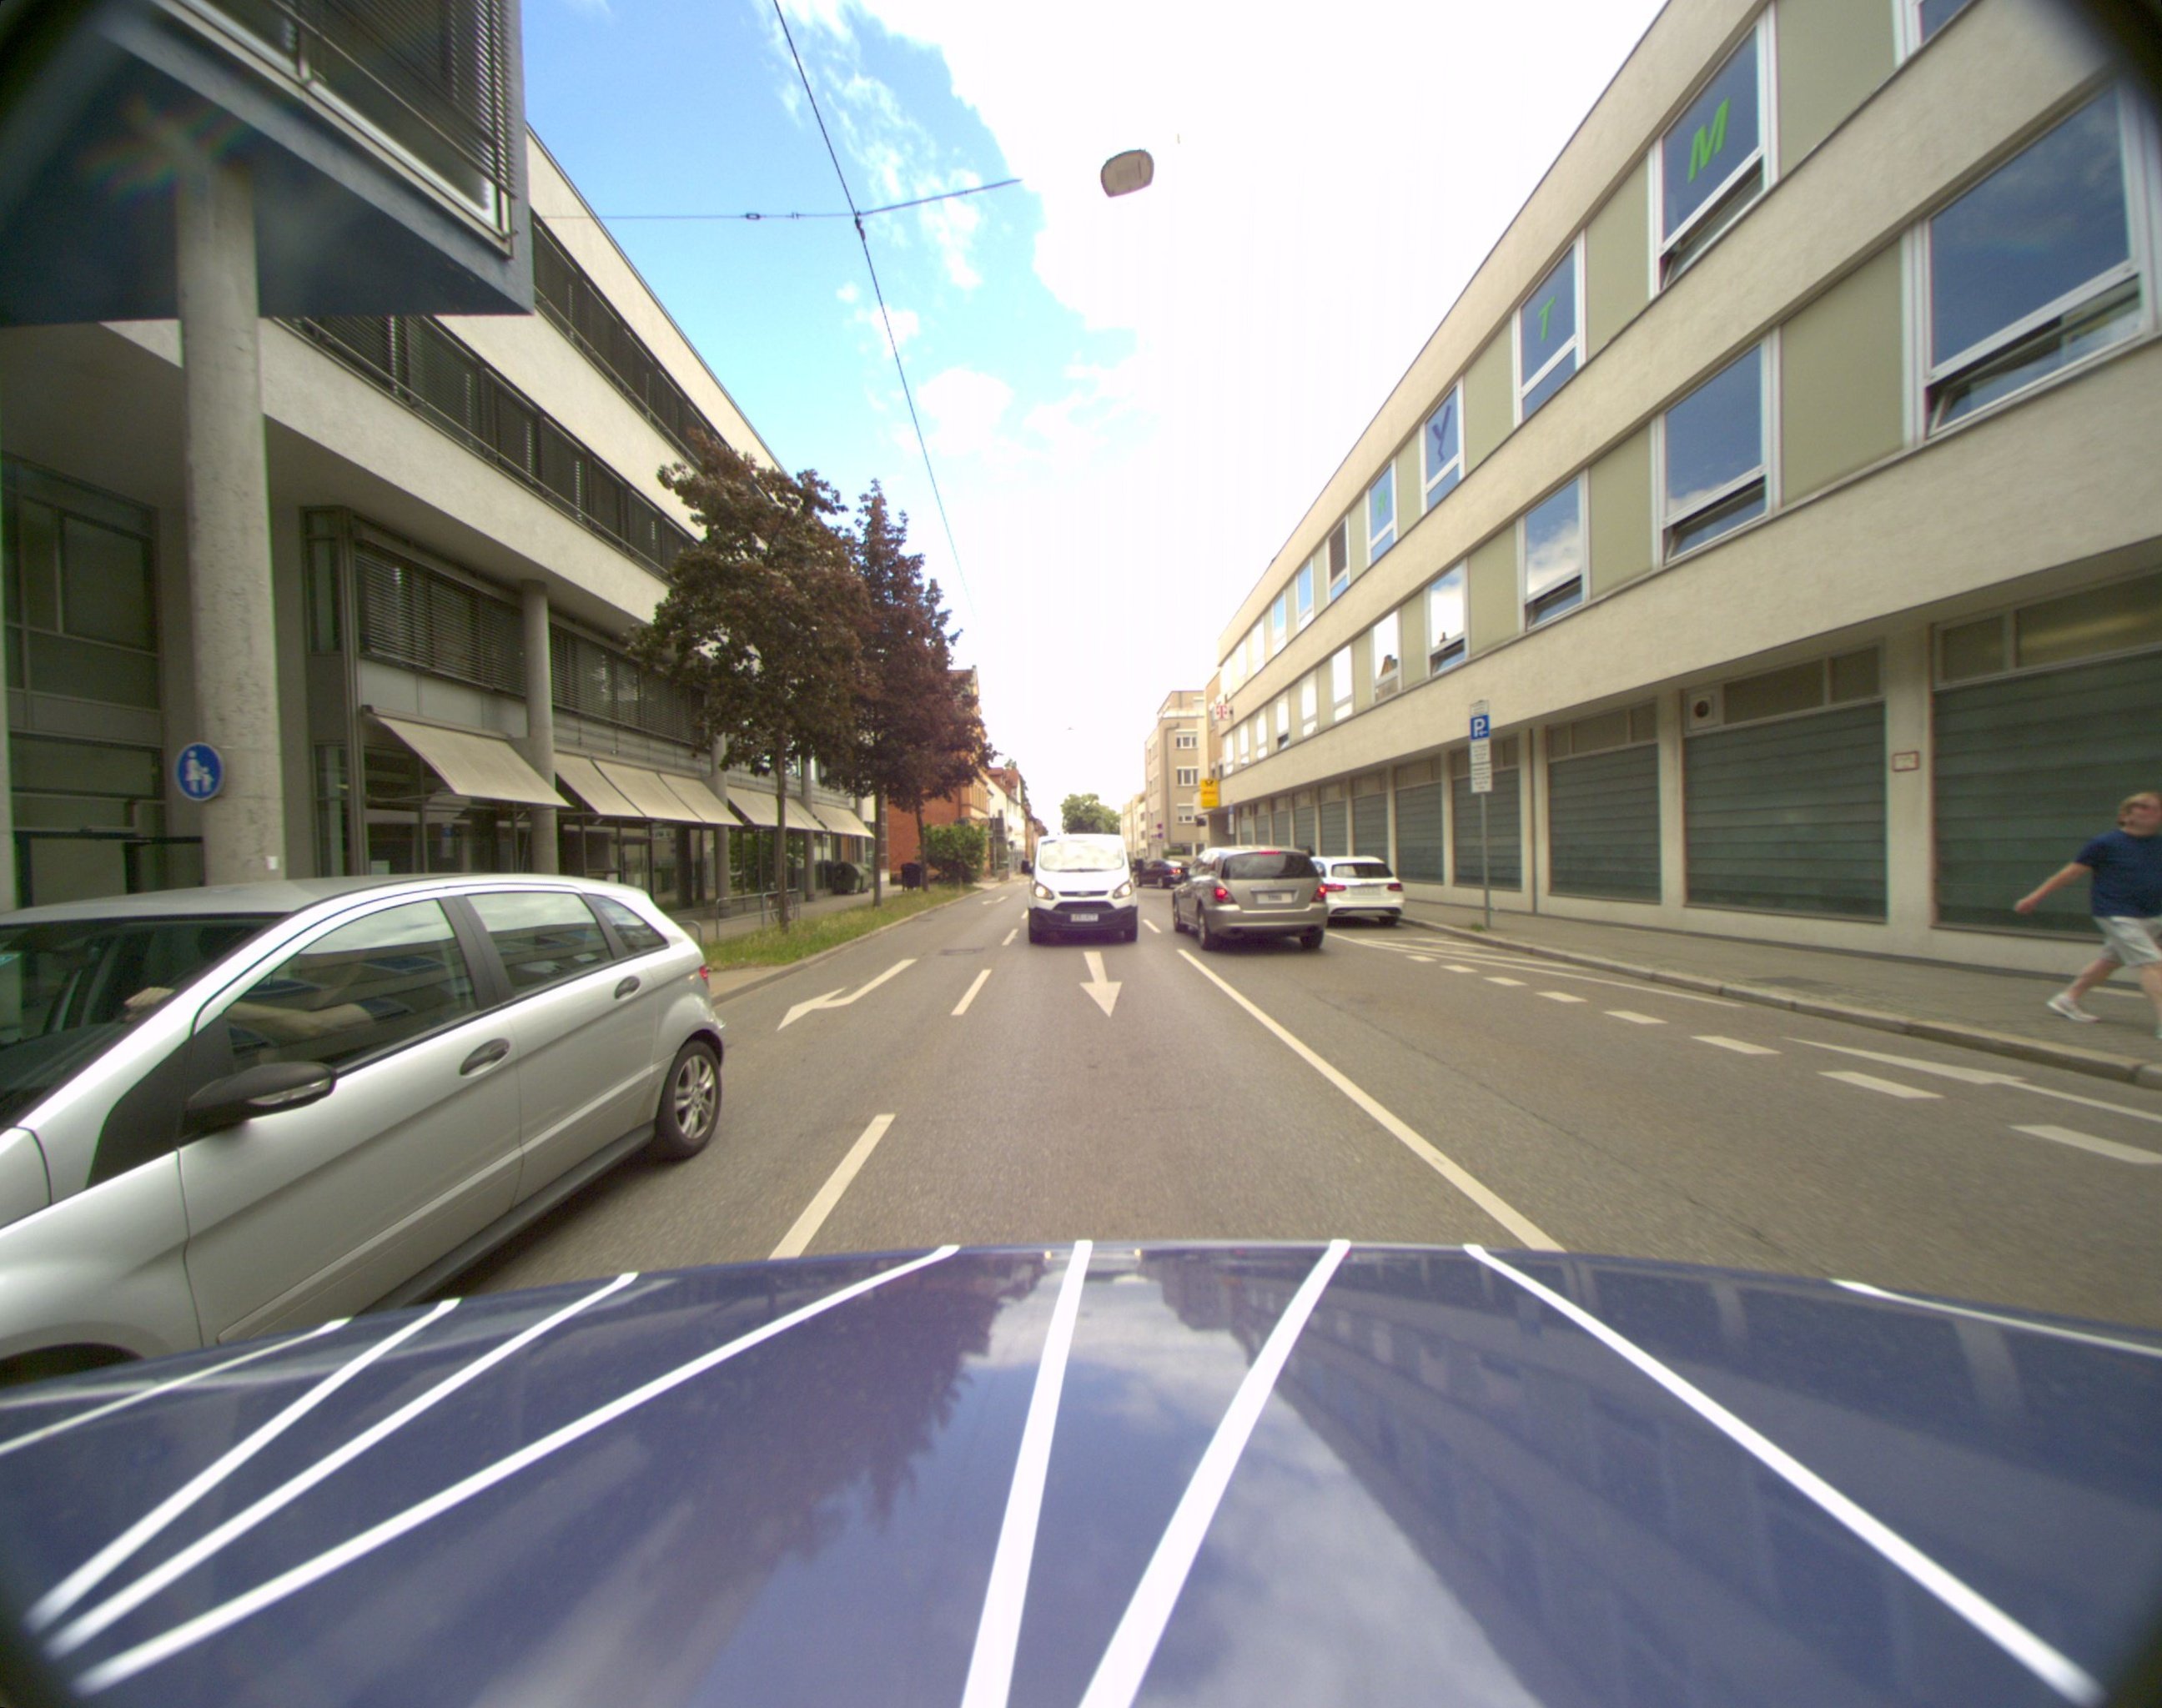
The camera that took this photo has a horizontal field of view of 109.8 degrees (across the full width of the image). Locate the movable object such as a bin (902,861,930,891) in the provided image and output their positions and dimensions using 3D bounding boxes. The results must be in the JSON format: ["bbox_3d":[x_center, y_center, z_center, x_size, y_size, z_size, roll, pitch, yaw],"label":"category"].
[{"bbox_3d":[-8.146,1.066,37.631,1.130,1.457,1.412,0,1,-2],"label":"movable object such as a bin"}]

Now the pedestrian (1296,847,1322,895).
[{"bbox_3d":[8.283,0.603,27.619,0.592,1.708,0.648,-2,1,-32],"label":"pedestrian"}]

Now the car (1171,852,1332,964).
[{"bbox_3d":[2.789,0.791,13.564,1.780,1.622,4.767,-1,0,0],"label":"car"}]

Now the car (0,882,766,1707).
[{"bbox_3d":[-3.111,1.024,2.679,1.999,1.537,4.570,-4,0,0],"label":"car"}]

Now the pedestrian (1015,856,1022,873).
[{"bbox_3d":[-6.544,1.116,79.980,0.690,1.721,0.649,-1,1,-3],"label":"pedestrian"}]

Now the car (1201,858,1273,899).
[{"bbox_3d":[5.764,0.853,28.529,1.721,1.417,3.869,0,0,-3],"label":"car"}]

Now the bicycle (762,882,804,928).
[{"bbox_3d":[-7.986,1.342,20.439,0.362,1.080,2.027,-3,0,-3],"label":"bicycle"}]

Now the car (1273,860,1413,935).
[{"bbox_3d":[5.670,0.861,17.061,1.674,1.425,4.553,0,0,1],"label":"car"}]

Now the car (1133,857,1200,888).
[{"bbox_3d":[4.079,0.855,37.042,1.658,1.390,4.447,-2,1,-16],"label":"car"}]

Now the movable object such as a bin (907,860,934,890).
[{"bbox_3d":[-8.225,1.061,39.001,1.101,1.457,1.332,0,1,-2],"label":"movable object such as a bin"}]

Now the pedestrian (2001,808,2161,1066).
[{"bbox_3d":[7.410,0.542,5.334,0.591,1.708,1.055,-1,1,-3],"label":"pedestrian"}]

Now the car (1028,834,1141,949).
[{"bbox_3d":[-0.059,0.661,16.062,1.965,1.986,5.086,-2,0,-3],"label":"car"}]

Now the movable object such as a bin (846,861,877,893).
[{"bbox_3d":[-10.382,1.088,36.007,1.125,1.457,1.332,0,1,-2],"label":"movable object such as a bin"}]

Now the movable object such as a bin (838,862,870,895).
[{"bbox_3d":[-10.319,1.097,34.648,1.101,1.457,1.332,0,1,-2],"label":"movable object such as a bin"}]
